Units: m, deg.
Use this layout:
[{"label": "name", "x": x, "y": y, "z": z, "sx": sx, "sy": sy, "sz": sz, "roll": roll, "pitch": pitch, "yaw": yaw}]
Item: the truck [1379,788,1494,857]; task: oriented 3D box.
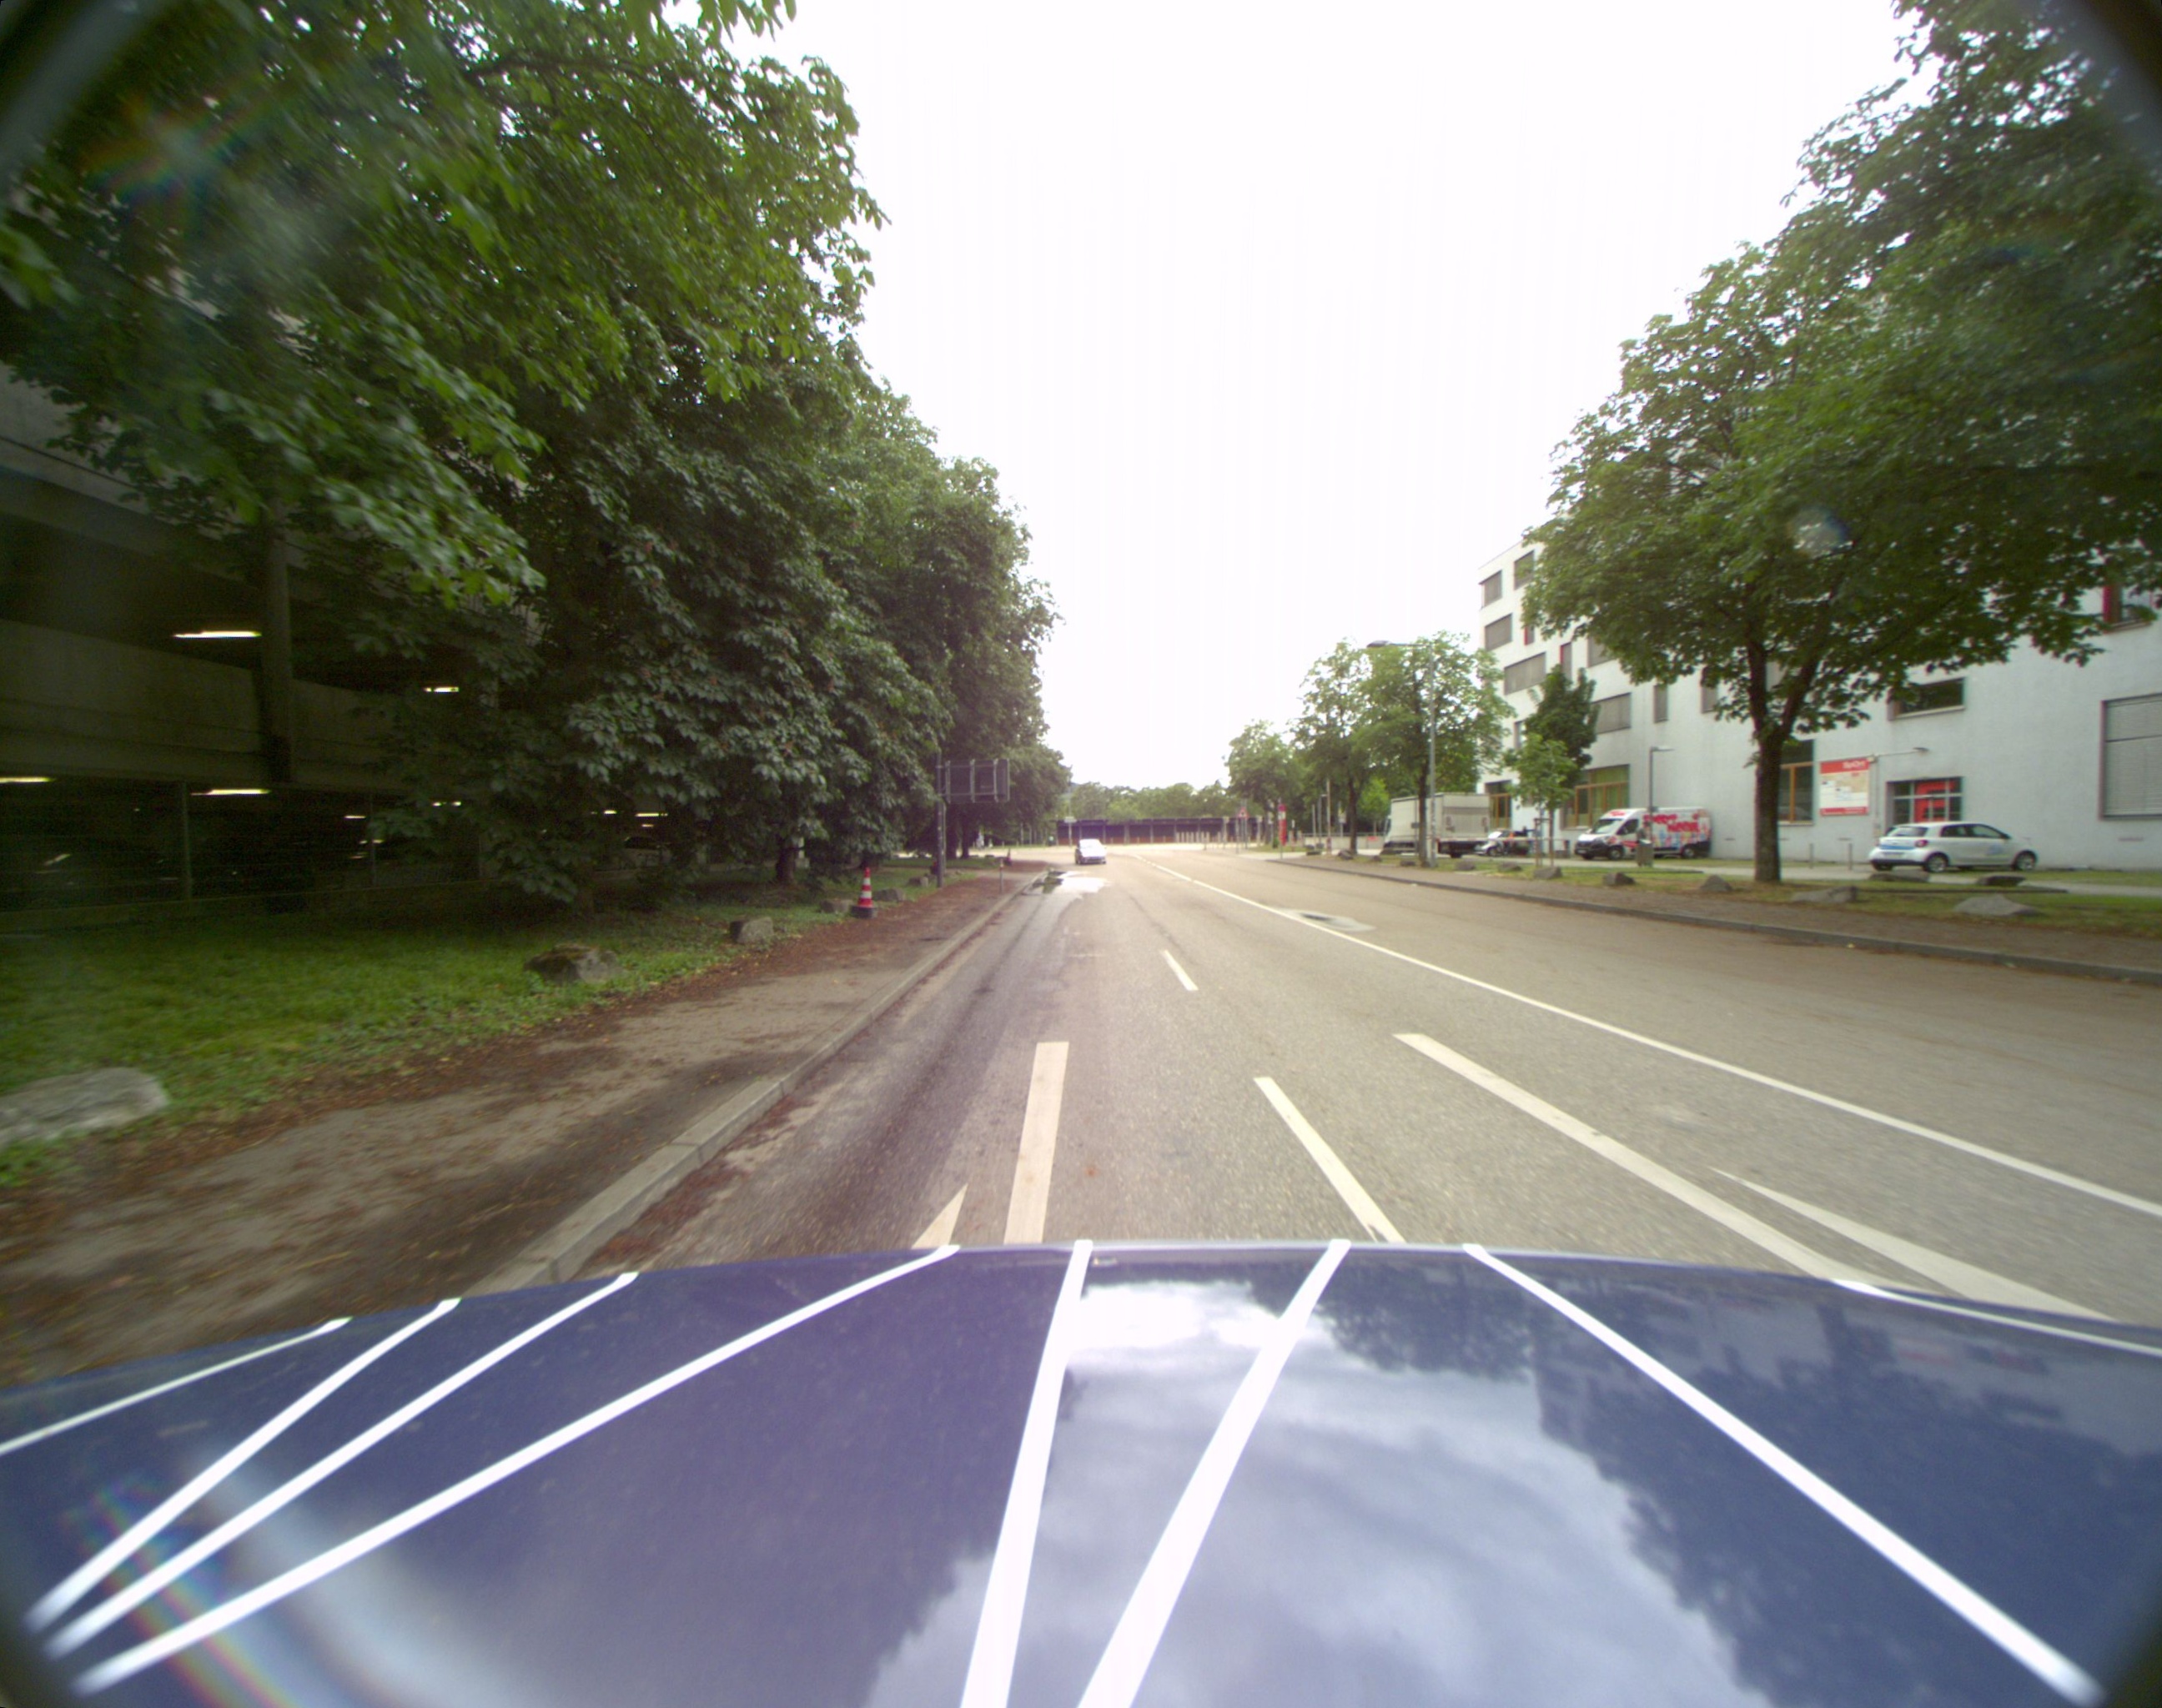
[{"label": "truck", "x": 20.338, "y": -1.709, "z": 44.101, "sx": 2.648, "sy": 3.596, "sz": 7.836, "roll": 1, "pitch": 1, "yaw": -2}]

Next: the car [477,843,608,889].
[{"label": "car", "x": -17.467, "y": 0.343, "z": 24.883, "sx": 1.521, "sy": 1.356, "sz": 3.775, "roll": -1, "pitch": 1, "yaw": 1}]

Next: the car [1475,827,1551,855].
[{"label": "car", "x": 26.573, "y": -0.796, "z": 46.830, "sx": 3.698, "sy": 1.638, "sz": 1.655, "roll": -1, "pitch": 1, "yaw": 3}]

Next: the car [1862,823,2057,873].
[{"label": "car", "x": 26.936, "y": -0.195, "z": 23.398, "sx": 4.009, "sy": 1.410, "sz": 1.714, "roll": -1, "pitch": 1, "yaw": 1}]

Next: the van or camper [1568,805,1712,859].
[{"label": "van or camper", "x": 26.493, "y": -1.026, "z": 36.146, "sx": 5.266, "sy": 2.412, "sz": 2.257, "roll": -1, "pitch": 1, "yaw": -1}]

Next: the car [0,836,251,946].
[{"label": "car", "x": -17.922, "y": 0.599, "z": 13.445, "sx": 1.999, "sy": 1.718, "sz": 3.999, "roll": -2, "pitch": 1, "yaw": 0}]

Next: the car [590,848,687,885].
[{"label": "car", "x": -17.284, "y": 0.434, "z": 29.874, "sx": 1.521, "sy": 1.319, "sz": 3.775, "roll": -1, "pitch": 1, "yaw": 1}]

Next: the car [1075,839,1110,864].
[{"label": "car", "x": 0.653, "y": -0.198, "z": 47.664, "sx": 1.855, "sy": 1.471, "sz": 4.506, "roll": -2, "pitch": 2, "yaw": -3}]
